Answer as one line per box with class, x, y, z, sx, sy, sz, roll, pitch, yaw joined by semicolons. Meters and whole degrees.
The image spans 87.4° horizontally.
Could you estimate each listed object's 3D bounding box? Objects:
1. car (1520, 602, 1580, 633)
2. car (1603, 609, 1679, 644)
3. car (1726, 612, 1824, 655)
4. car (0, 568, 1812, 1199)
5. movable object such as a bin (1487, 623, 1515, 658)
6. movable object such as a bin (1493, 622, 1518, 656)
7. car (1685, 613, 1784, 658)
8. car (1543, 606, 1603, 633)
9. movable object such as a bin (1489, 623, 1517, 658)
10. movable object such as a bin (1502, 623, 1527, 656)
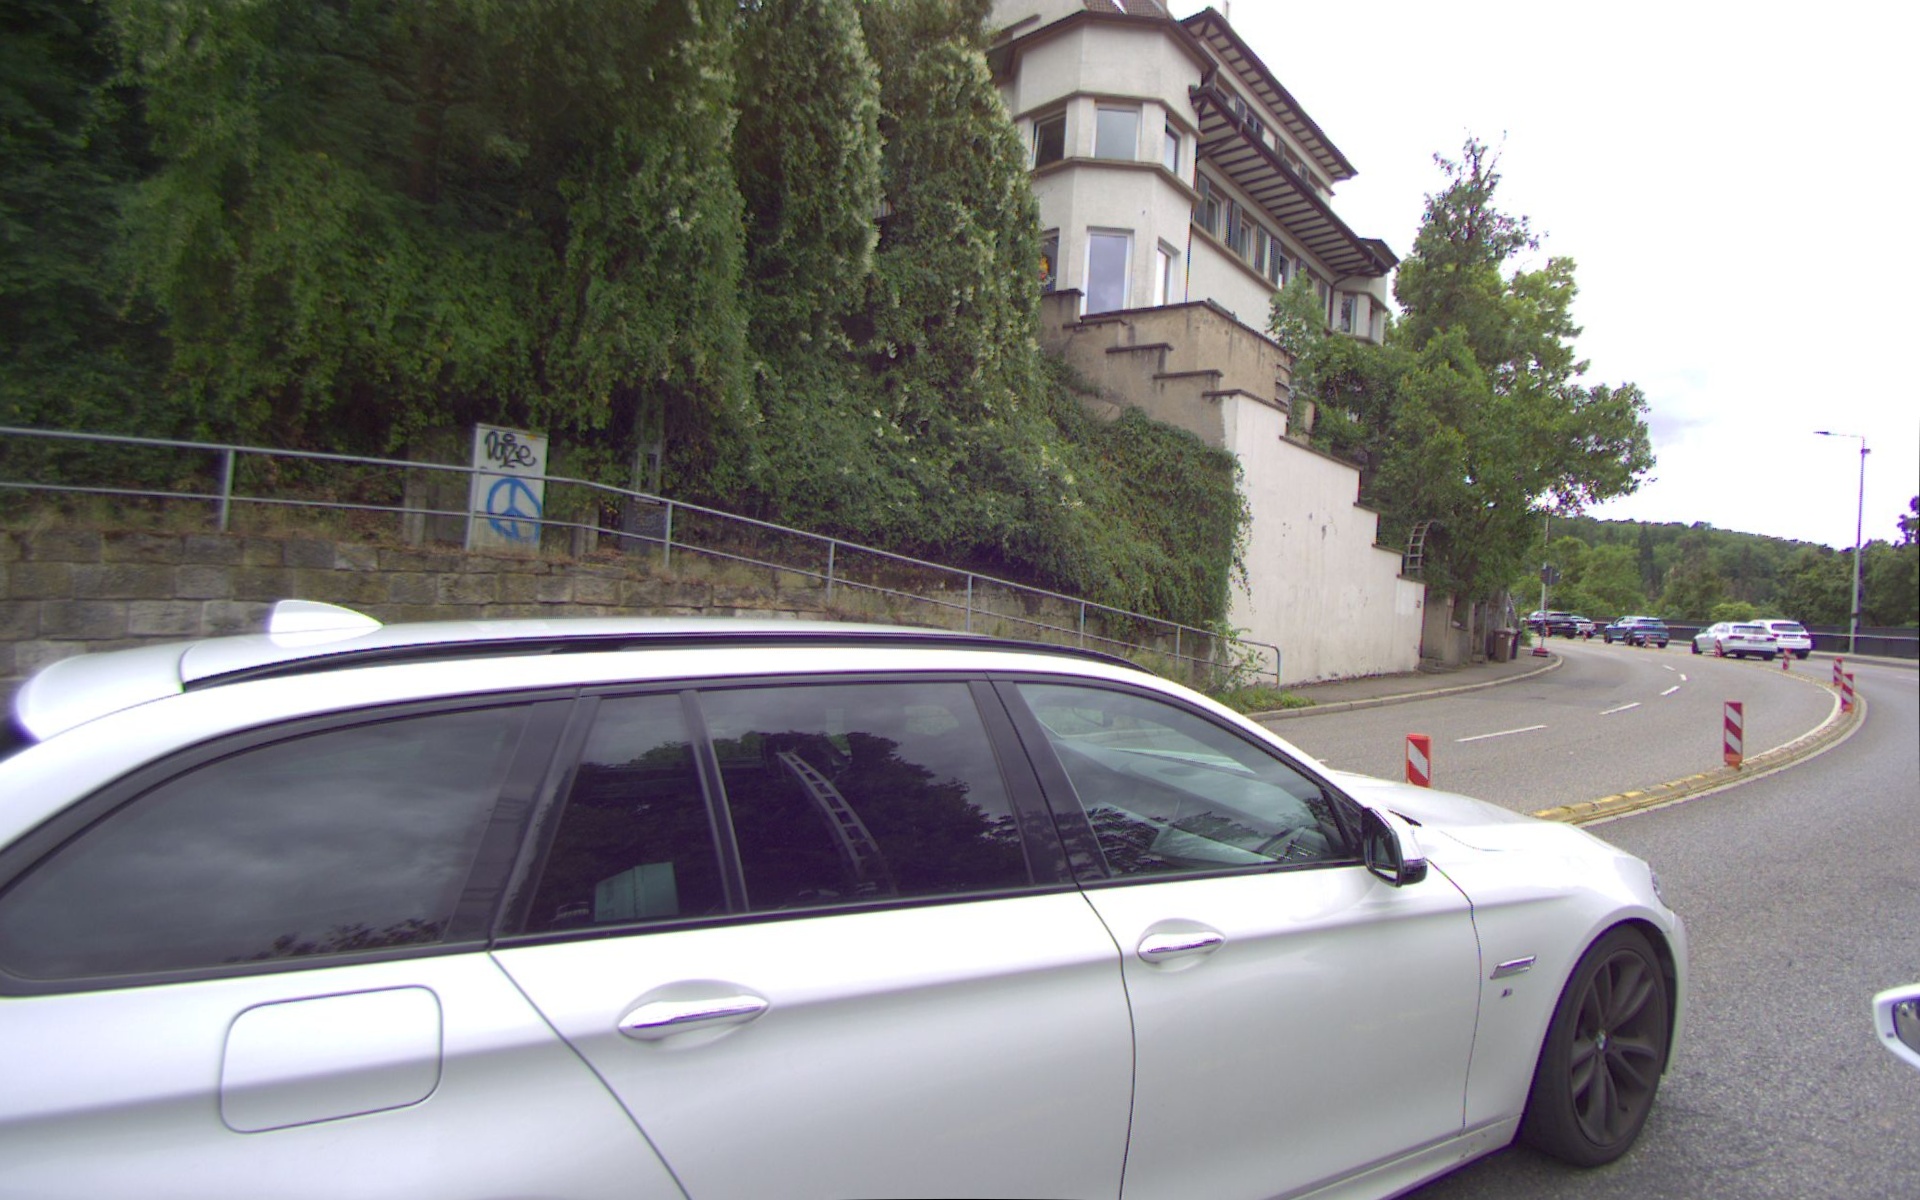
car;37.531;1.090;64.001;1.785;1.712;4.002;3;2;7
car;36.125;1.379;53.402;1.960;1.561;4.011;4;2;14
car;36.608;1.465;45.240;1.960;1.607;4.001;4;2;17
car;0.061;0.792;2.697;4.822;1.486;1.839;2;2;-30
movable object such as a bin;15.669;1.160;29.084;0.599;0.962;0.554;4;2;35
movable object such as a bin;16.382;1.161;30.170;0.535;0.962;0.565;4;2;35
car;32.217;1.423;41.927;1.874;1.595;4.001;4;2;17
car;40.897;1.298;67.092;1.667;1.546;3.533;3;2;-4
movable object such as a bin;15.987;1.182;29.554;0.599;0.962;0.579;4;2;35
movable object such as a bin;16.942;1.195;30.681;0.535;0.962;0.565;4;2;35
